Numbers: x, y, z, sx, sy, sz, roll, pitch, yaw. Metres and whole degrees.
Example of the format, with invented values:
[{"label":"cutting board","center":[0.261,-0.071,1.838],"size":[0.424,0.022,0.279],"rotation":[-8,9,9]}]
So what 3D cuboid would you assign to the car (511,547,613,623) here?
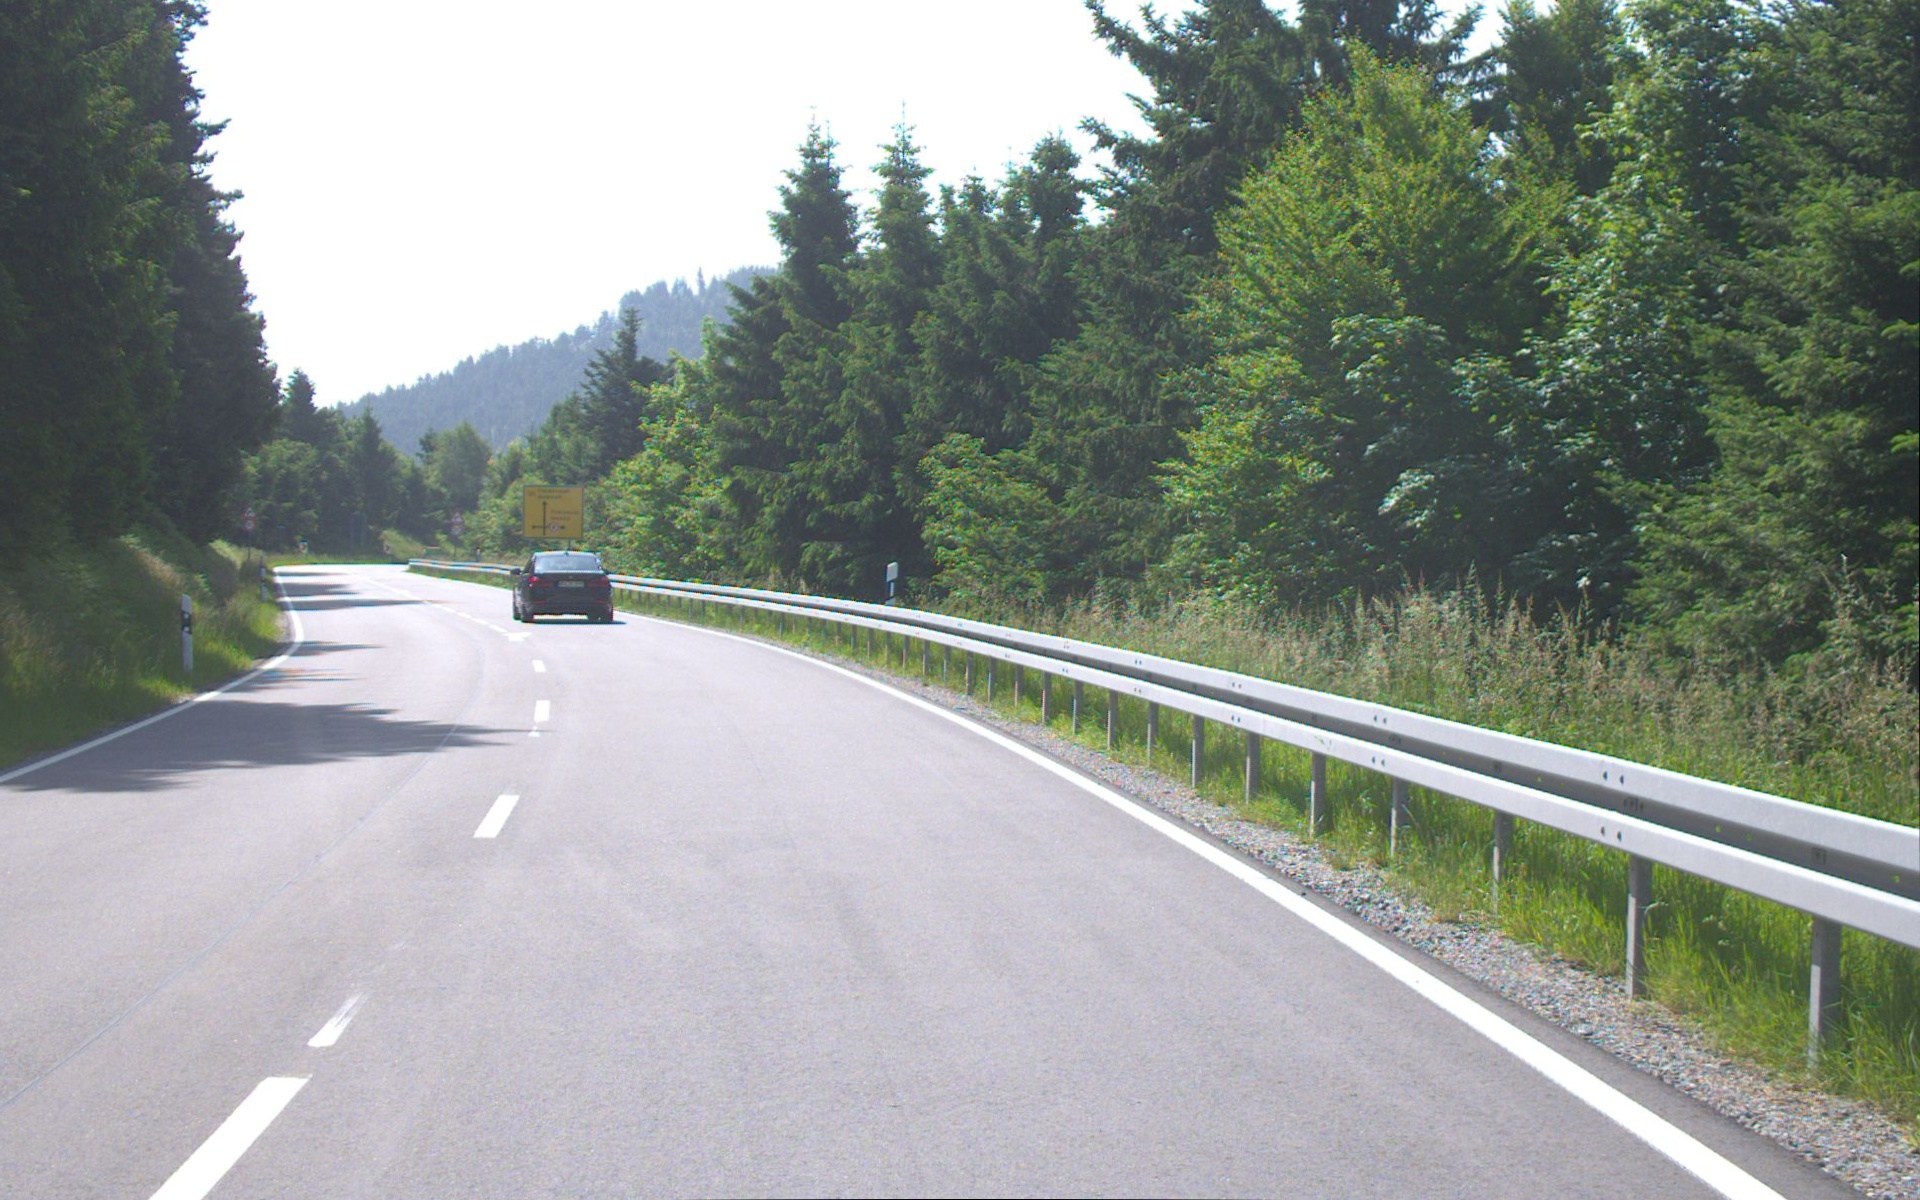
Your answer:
[{"label":"car","center":[-7.997,-0.316,68.937],"size":[1.775,1.437,3.710],"rotation":[-1,1,-10]}]
